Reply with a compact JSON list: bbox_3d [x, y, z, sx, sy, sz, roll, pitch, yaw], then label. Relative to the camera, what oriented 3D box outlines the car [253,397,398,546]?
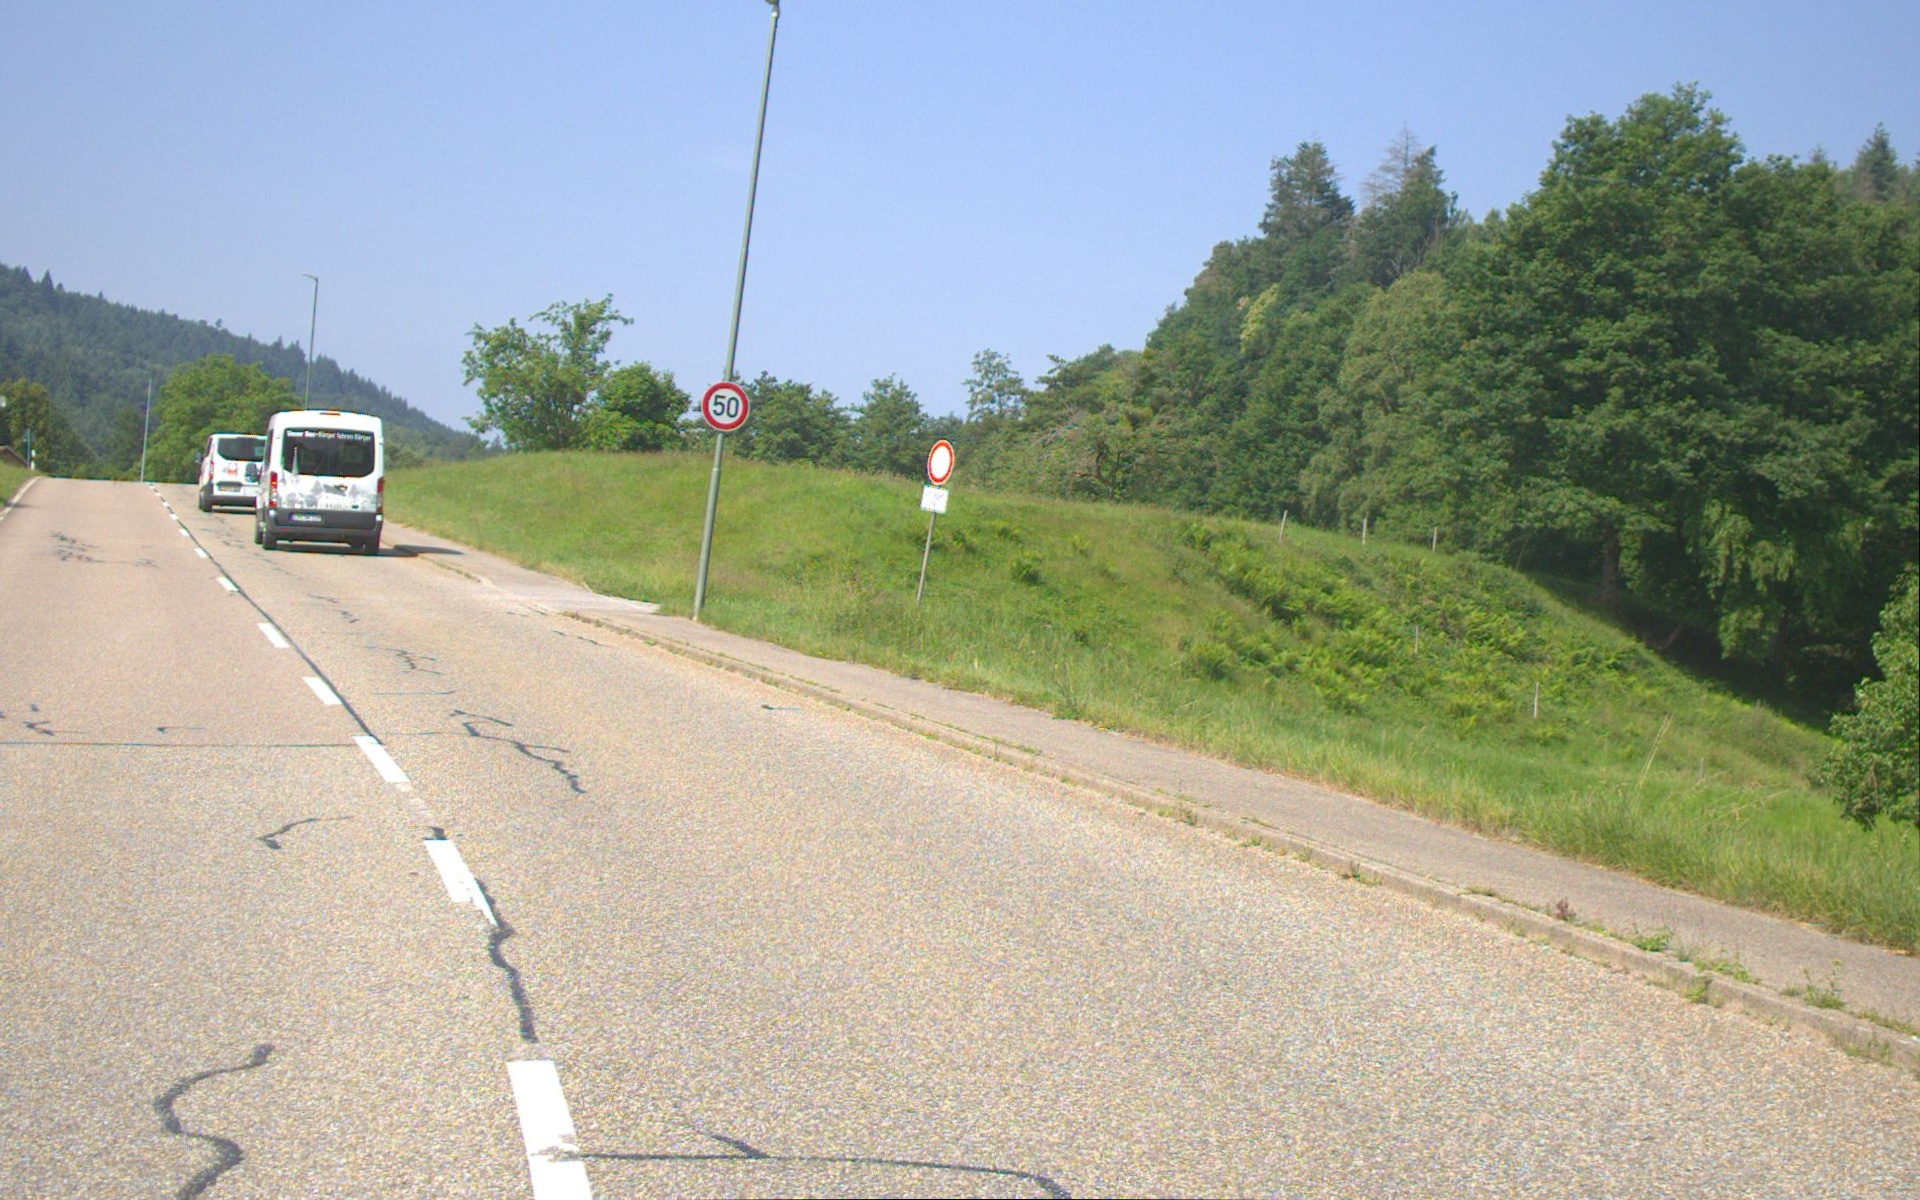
[{"bbox_3d":[-11.379,-2.236,61.396,2.222,2.517,4.986,0,1,-14],"label":"car"}]

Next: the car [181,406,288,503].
[{"bbox_3d":[-18.456,-3.650,87.271,2.222,2.279,4.986,0,1,-17],"label":"car"}]
